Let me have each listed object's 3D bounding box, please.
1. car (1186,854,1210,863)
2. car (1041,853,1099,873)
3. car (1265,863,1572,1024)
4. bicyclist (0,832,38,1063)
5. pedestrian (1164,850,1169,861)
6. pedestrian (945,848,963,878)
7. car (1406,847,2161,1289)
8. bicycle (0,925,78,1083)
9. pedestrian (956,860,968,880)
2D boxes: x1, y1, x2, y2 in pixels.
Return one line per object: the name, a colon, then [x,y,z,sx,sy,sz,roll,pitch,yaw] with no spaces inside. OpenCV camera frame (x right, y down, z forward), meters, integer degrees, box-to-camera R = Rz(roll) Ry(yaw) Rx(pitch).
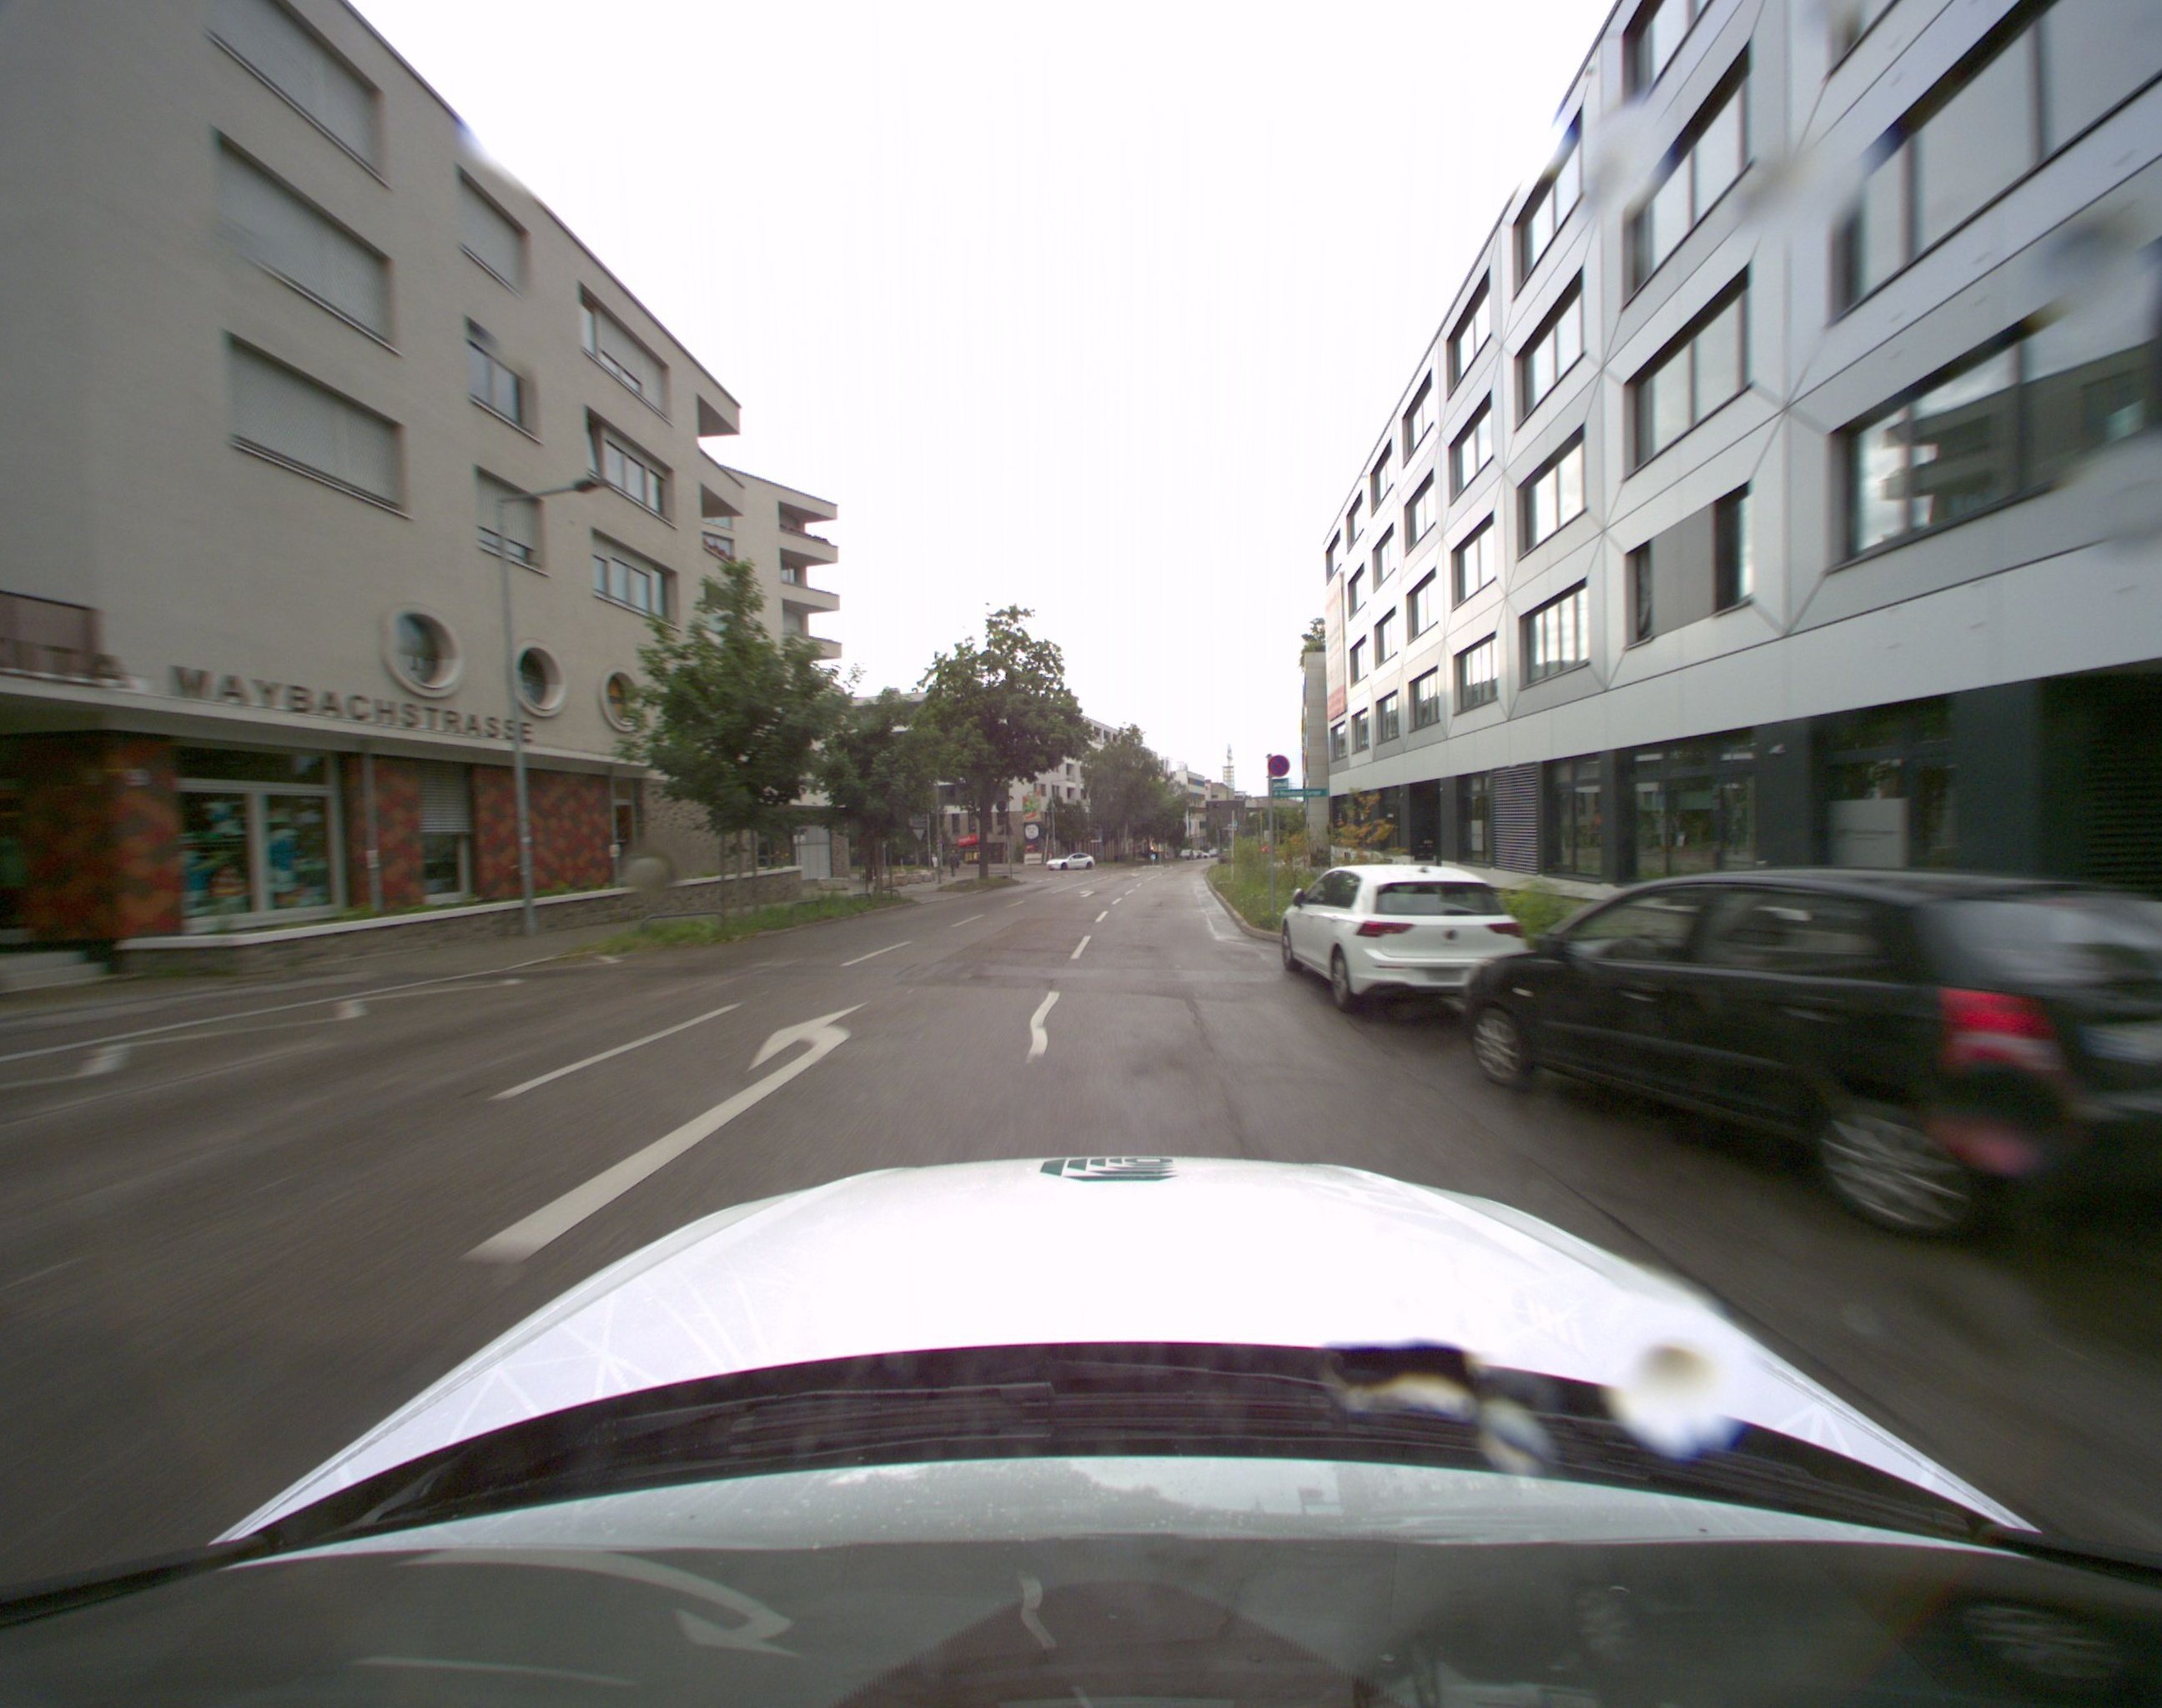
car: [20.565,0.774,143.013,3.956,1.577,2.007,0,0,12]
car: [-0.913,0.755,70.581,4.843,1.661,2.040,0,-1,-38]
car: [3.620,0.846,9.767,2.031,1.464,4.506,0,-1,3]
bicyclist: [-7.316,0.606,4.936,0.806,1.523,1.190,1,-2,-31]
pedestrian: [13.553,0.290,129.194,0.703,1.683,0.960,0,0,12]
pedestrian: [-8.571,0.621,55.014,1.053,2.014,1.098,1,-1,-5]
car: [3.973,0.737,4.867,2.043,1.458,4.043,1,-1,-8]
bicycle: [-7.326,1.006,4.955,0.807,0.979,2.232,1,-1,-31]
pedestrian: [-11.803,1.585,81.009,0.878,2.013,1.120,1,0,8]
